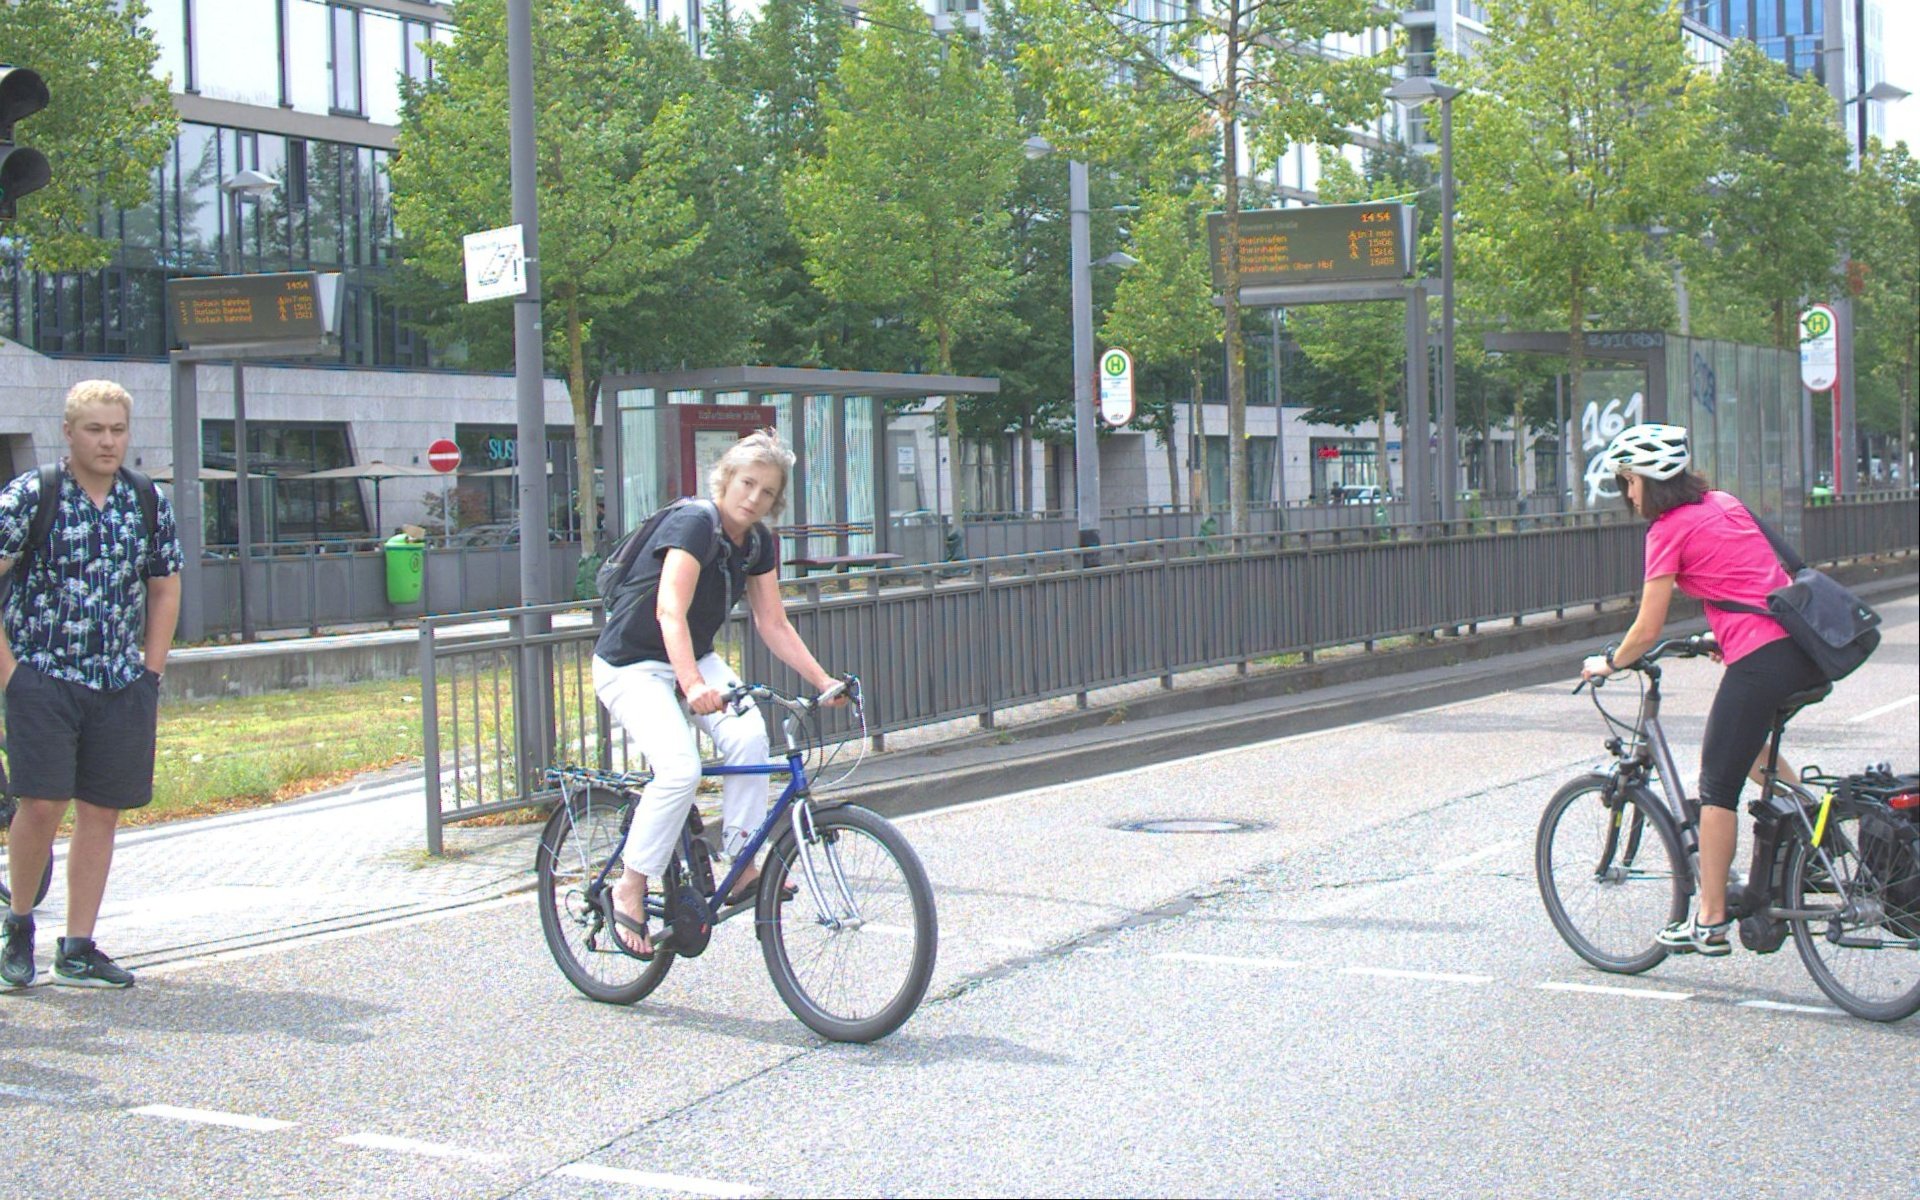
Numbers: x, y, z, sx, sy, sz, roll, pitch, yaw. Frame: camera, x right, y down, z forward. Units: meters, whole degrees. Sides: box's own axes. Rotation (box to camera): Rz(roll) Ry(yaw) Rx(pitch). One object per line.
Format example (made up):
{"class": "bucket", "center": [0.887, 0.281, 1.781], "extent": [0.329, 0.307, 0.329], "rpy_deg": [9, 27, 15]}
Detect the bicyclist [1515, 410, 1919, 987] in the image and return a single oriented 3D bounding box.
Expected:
{"class": "bicyclist", "center": [2.342, 0.258, 10.331], "extent": [0.789, 1.621, 1.049], "rpy_deg": [-3, 2, -36]}

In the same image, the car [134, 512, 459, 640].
{"class": "car", "center": [-8.061, -0.327, 42.121], "extent": [1.845, 1.453, 3.995], "rpy_deg": [0, 2, 26]}

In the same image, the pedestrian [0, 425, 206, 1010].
{"class": "pedestrian", "center": [-2.777, 0.351, 10.782], "extent": [0.552, 1.775, 0.580], "rpy_deg": [0, 1, 19]}

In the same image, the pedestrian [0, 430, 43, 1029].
{"class": "pedestrian", "center": [-3.161, 0.389, 10.151], "extent": [0.552, 1.775, 0.690], "rpy_deg": [0, 1, 19]}

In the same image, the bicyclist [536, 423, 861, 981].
{"class": "bicyclist", "center": [-0.773, 0.278, 10.147], "extent": [0.765, 1.575, 0.559], "rpy_deg": [0, 2, 43]}

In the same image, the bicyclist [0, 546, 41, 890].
{"class": "bicyclist", "center": [-4.018, 0.456, 13.193], "extent": [0.674, 1.312, 0.639], "rpy_deg": [0, 1, 23]}

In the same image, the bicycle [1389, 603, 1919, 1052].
{"class": "bicycle", "center": [2.309, 0.622, 10.410], "extent": [0.789, 1.164, 2.041], "rpy_deg": [-3, 2, -37]}

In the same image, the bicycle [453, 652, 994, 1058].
{"class": "bicycle", "center": [-0.725, 0.705, 10.118], "extent": [1.712, 1.054, 0.547], "rpy_deg": [1, 2, 43]}

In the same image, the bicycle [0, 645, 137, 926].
{"class": "bicycle", "center": [-4.102, 0.688, 13.231], "extent": [1.753, 1.003, 0.653], "rpy_deg": [0, 2, 23]}
